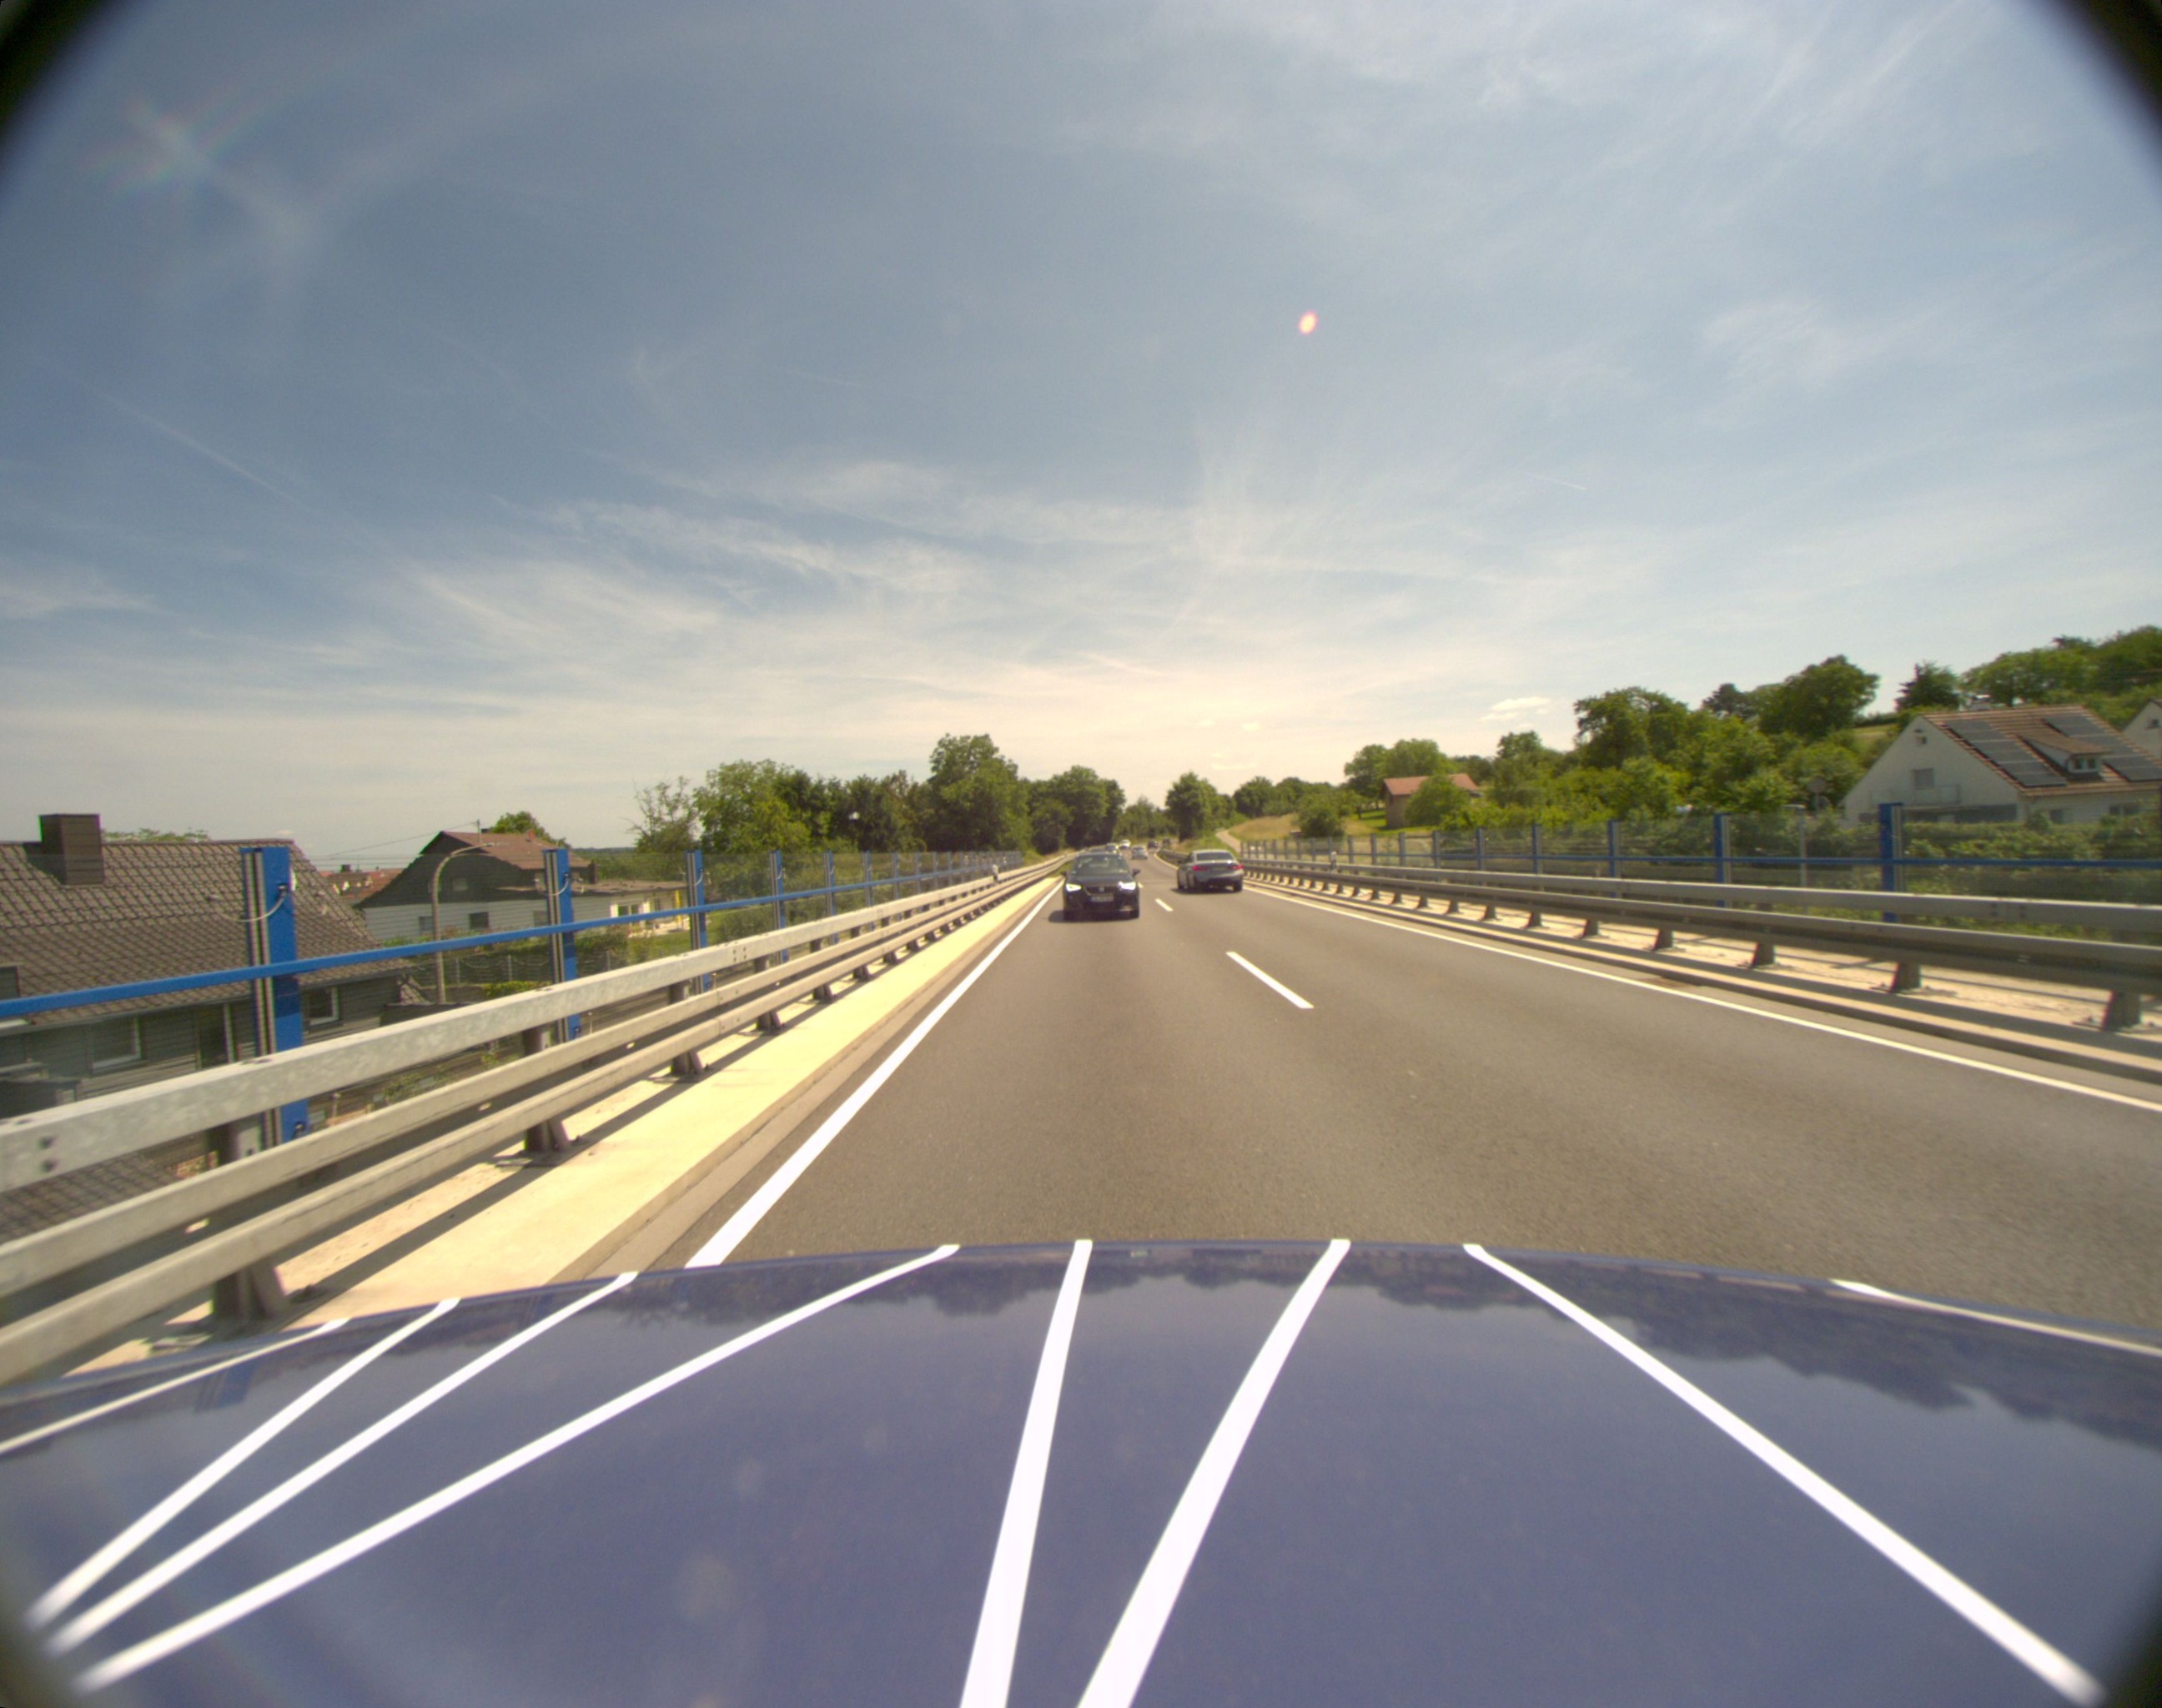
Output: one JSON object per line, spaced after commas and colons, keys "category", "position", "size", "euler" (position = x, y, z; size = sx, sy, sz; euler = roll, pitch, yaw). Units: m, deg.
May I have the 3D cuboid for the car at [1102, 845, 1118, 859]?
{"category": "car", "position": [3.825, -0.275, 98.895], "size": [1.883, 1.698, 4.001], "euler": [-1, 1, 5]}

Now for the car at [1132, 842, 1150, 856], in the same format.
{"category": "car", "position": [6.602, -0.548, 84.316], "size": [1.711, 1.496, 4.118], "euler": [-1, 1, 1]}

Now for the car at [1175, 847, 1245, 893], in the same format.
{"category": "car", "position": [4.480, 0.501, 27.041], "size": [1.785, 1.427, 4.834], "euler": [-1, 1, 2]}

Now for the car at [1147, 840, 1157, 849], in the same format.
{"category": "car", "position": [13.476, -1.854, 143.730], "size": [1.810, 1.580, 4.380], "euler": [-1, 1, 4]}

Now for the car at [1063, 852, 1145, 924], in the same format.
{"category": "car", "position": [0.529, 0.722, 18.482], "size": [1.737, 1.467, 3.999], "euler": [-1, 1, 1]}

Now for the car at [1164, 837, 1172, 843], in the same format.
{"category": "car", "position": [21.123, -3.430, 184.885], "size": [1.649, 1.432, 4.161], "euler": [-1, 1, 10]}

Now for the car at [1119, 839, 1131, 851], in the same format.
{"category": "car", "position": [8.192, -1.631, 140.757], "size": [1.998, 2.002, 4.000], "euler": [-2, 2, 5]}

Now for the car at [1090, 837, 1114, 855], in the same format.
{"category": "car", "position": [2.079, -0.772, 74.881], "size": [1.882, 1.698, 4.002], "euler": [-1, 1, 8]}
